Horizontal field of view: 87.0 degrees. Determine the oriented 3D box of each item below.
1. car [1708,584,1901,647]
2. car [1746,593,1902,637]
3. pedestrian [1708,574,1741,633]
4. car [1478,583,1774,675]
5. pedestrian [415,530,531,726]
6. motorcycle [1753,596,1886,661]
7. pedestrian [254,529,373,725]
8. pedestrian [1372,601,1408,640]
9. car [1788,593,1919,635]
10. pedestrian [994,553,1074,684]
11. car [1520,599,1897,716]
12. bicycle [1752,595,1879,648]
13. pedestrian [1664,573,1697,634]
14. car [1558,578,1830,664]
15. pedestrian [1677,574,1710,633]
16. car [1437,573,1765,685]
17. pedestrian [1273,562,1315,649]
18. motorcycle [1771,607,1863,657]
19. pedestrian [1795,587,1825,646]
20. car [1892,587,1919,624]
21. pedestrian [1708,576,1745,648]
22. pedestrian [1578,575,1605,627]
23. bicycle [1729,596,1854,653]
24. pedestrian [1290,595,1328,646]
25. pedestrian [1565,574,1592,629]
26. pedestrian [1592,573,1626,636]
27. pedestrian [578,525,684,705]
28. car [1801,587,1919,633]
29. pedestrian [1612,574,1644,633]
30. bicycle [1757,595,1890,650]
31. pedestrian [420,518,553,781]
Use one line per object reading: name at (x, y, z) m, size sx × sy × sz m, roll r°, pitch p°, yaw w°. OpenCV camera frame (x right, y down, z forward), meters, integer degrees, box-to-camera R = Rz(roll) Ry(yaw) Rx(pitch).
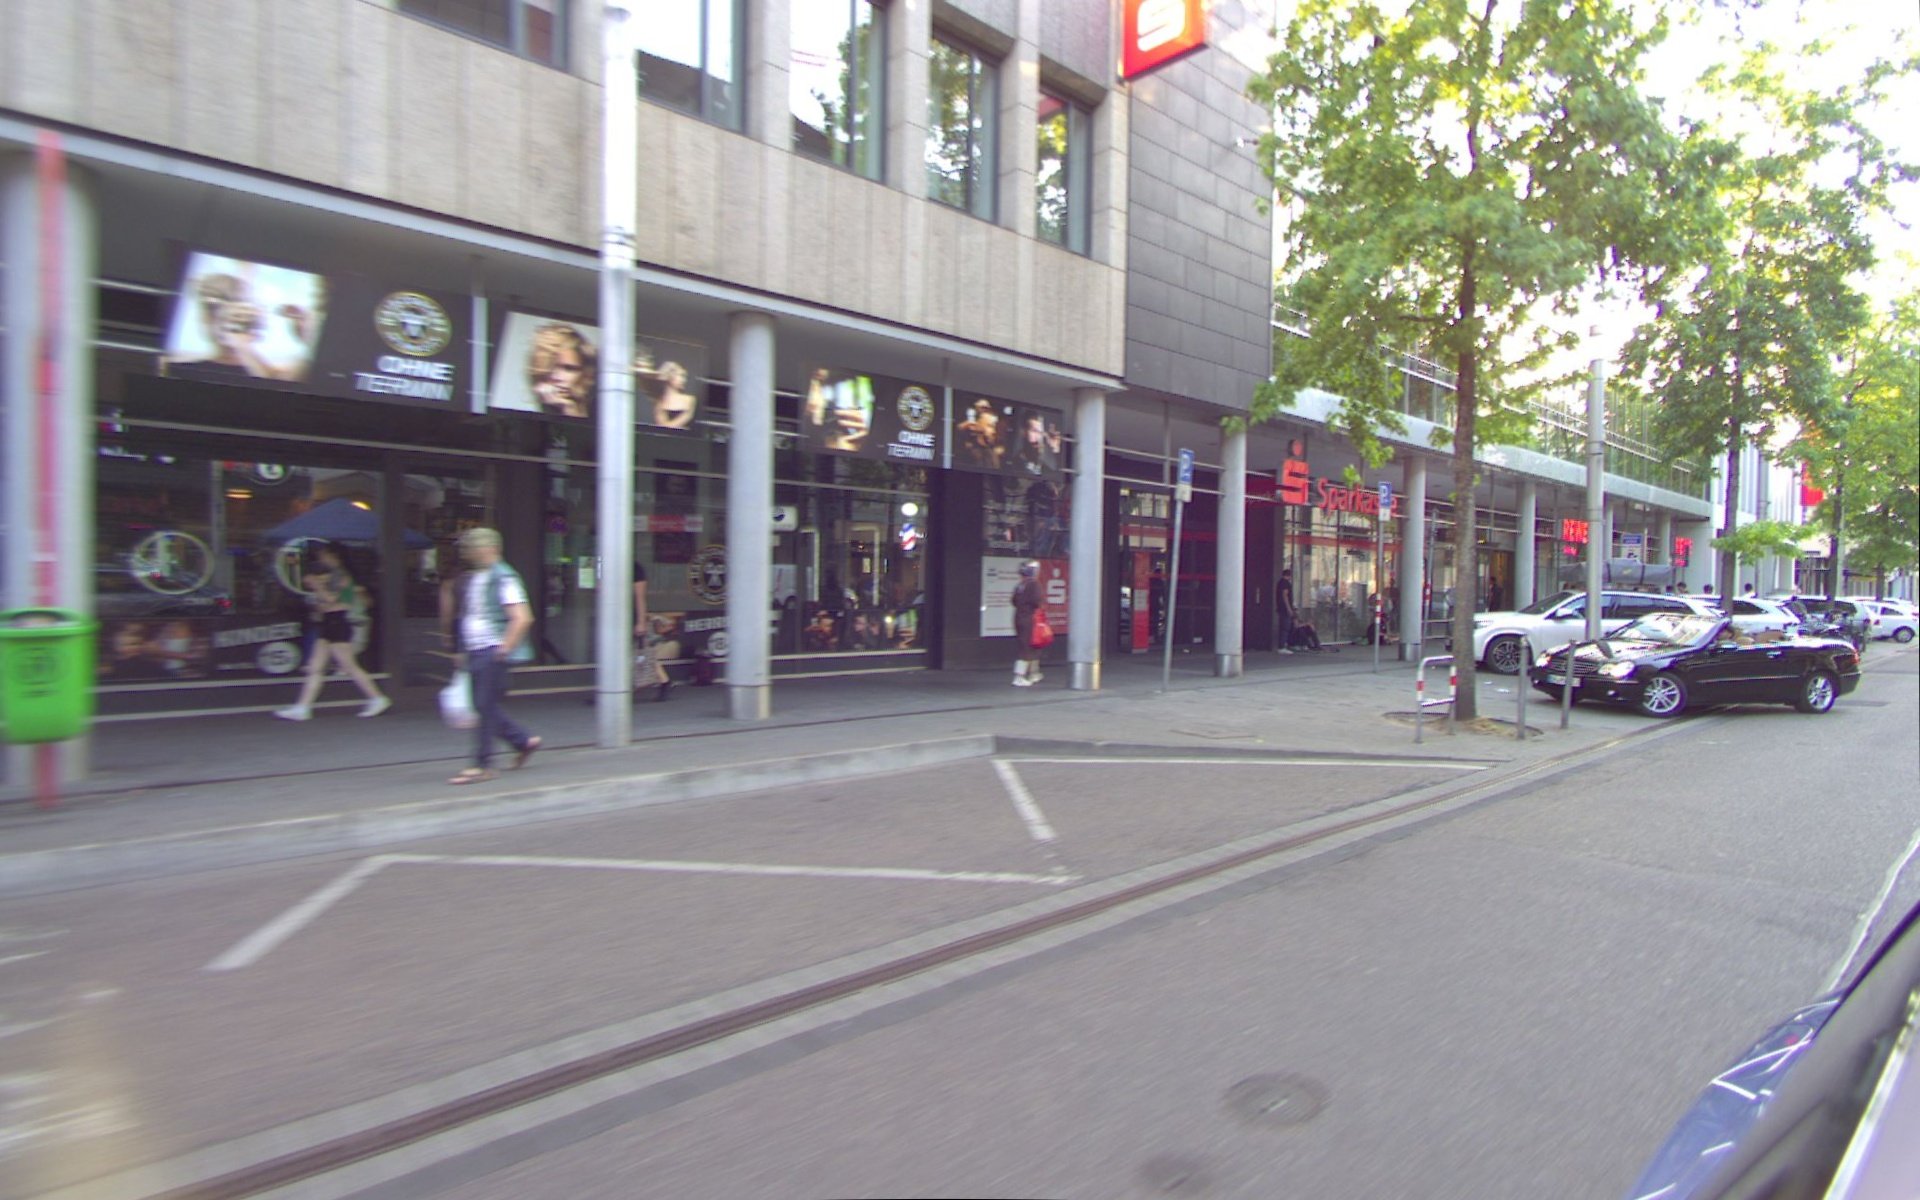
car at (27.223, 0.503, 32.788) m, size 4.397 × 1.904 × 1.794 m, roll -1°, pitch -1°, yaw 12°
car at (31.947, 0.561, 37.562) m, size 3.948 × 1.530 × 1.789 m, roll -1°, pitch -1°, yaw 19°
pedestrian at (22.408, 0.090, 29.655) m, size 0.617 × 1.712 × 0.617 m, roll 0°, pitch 2°, yaw -41°
car at (13.155, 0.505, 20.378) m, size 4.583 × 1.457 × 1.905 m, roll 3°, pitch 3°, yaw 22°
pedestrian at (-4.375, 0.221, 9.088) m, size 0.775 × 1.664 × 0.682 m, roll 0°, pitch 2°, yaw -43°
motorcycle at (20.339, 0.664, 24.000) m, size 2.071 × 1.370 × 1.157 m, roll 2°, pitch 2°, yaw 0°
pedestrian at (-5.826, 0.209, 9.119) m, size 0.805 × 1.664 × 0.711 m, roll 0°, pitch 2°, yaw -43°
pedestrian at (10.528, 0.495, 24.760) m, size 0.548 × 0.892 × 0.627 m, roll 0°, pitch 2°, yaw -42°
car at (35.031, 0.530, 39.327) m, size 3.948 × 1.530 × 1.853 m, roll -1°, pitch -1°, yaw 19°
pedestrian at (0.981, 0.224, 13.433) m, size 0.728 × 1.664 × 0.749 m, roll 0°, pitch 2°, yaw -42°
car at (10.373, 0.727, 14.102) m, size 4.469 × 1.426 × 1.803 m, roll 0°, pitch -1°, yaw -15°
bicycle at (24.353, 0.621, 28.876) m, size 2.643 × 1.475 × 0.671 m, roll -1°, pitch -1°, yaw 23°
pedestrian at (20.830, 0.097, 29.260) m, size 0.617 × 1.712 × 0.617 m, roll 0°, pitch 2°, yaw -41°
car at (16.669, 0.425, 23.275) m, size 4.570 × 1.607 × 1.910 m, roll 3°, pitch 2°, yaw 14°
pedestrian at (21.589, 0.088, 29.784) m, size 0.617 × 1.712 × 0.617 m, roll 0°, pitch 2°, yaw -41°
car at (11.381, 0.463, 18.374) m, size 4.575 × 1.650 × 1.908 m, roll 3°, pitch 1°, yaw 17°
pedestrian at (6.997, 0.100, 21.203) m, size 0.617 × 1.794 × 0.557 m, roll 0°, pitch 2°, yaw -41°
motorcycle at (21.272, 0.775, 25.157) m, size 1.555 × 1.113 × 0.624 m, roll 3°, pitch 2°, yaw 24°
pedestrian at (25.092, 0.468, 29.883) m, size 0.616 × 1.712 × 0.618 m, roll 1°, pitch 1°, yaw 44°
car at (48.720, 0.257, 49.916) m, size 3.919 × 1.809 × 1.867 m, roll -1°, pitch -1°, yaw -7°
pedestrian at (19.853, 0.297, 26.216) m, size 0.617 × 1.822 × 0.617 m, roll 0°, pitch 2°, yaw -41°
pedestrian at (20.983, 0.023, 33.621) m, size 0.617 × 1.712 × 0.557 m, roll 0°, pitch 2°, yaw -41°
bicycle at (22.219, 0.656, 27.108) m, size 2.461 × 1.475 × 0.652 m, roll -1°, pitch -1°, yaw 24°
pedestrian at (7.608, 0.438, 22.063) m, size 0.625 × 1.048 × 0.550 m, roll 2°, pitch 2°, yaw 40°
pedestrian at (19.739, 0.045, 32.302) m, size 0.617 × 1.712 × 0.557 m, roll 0°, pitch 2°, yaw -41°
pedestrian at (18.054, 0.116, 28.162) m, size 0.617 × 1.712 × 0.617 m, roll 0°, pitch 2°, yaw -41°
pedestrian at (-3.440, 0.131, 10.589) m, size 0.849 × 1.794 × 0.674 m, roll 0°, pitch 2°, yaw -43°
car at (38.280, 0.424, 42.649) m, size 3.957 × 1.809 × 1.849 m, roll -1°, pitch -1°, yaw 25°
pedestrian at (19.807, 0.085, 30.000) m, size 0.617 × 1.712 × 0.617 m, roll 0°, pitch 2°, yaw -41°
bicycle at (23.862, 0.638, 28.031) m, size 2.642 × 1.475 × 0.724 m, roll -1°, pitch -1°, yaw 22°
pedestrian at (-3.113, 0.300, 6.647) m, size 0.627 × 1.608 × 0.669 m, roll 0°, pitch 0°, yaw -42°
